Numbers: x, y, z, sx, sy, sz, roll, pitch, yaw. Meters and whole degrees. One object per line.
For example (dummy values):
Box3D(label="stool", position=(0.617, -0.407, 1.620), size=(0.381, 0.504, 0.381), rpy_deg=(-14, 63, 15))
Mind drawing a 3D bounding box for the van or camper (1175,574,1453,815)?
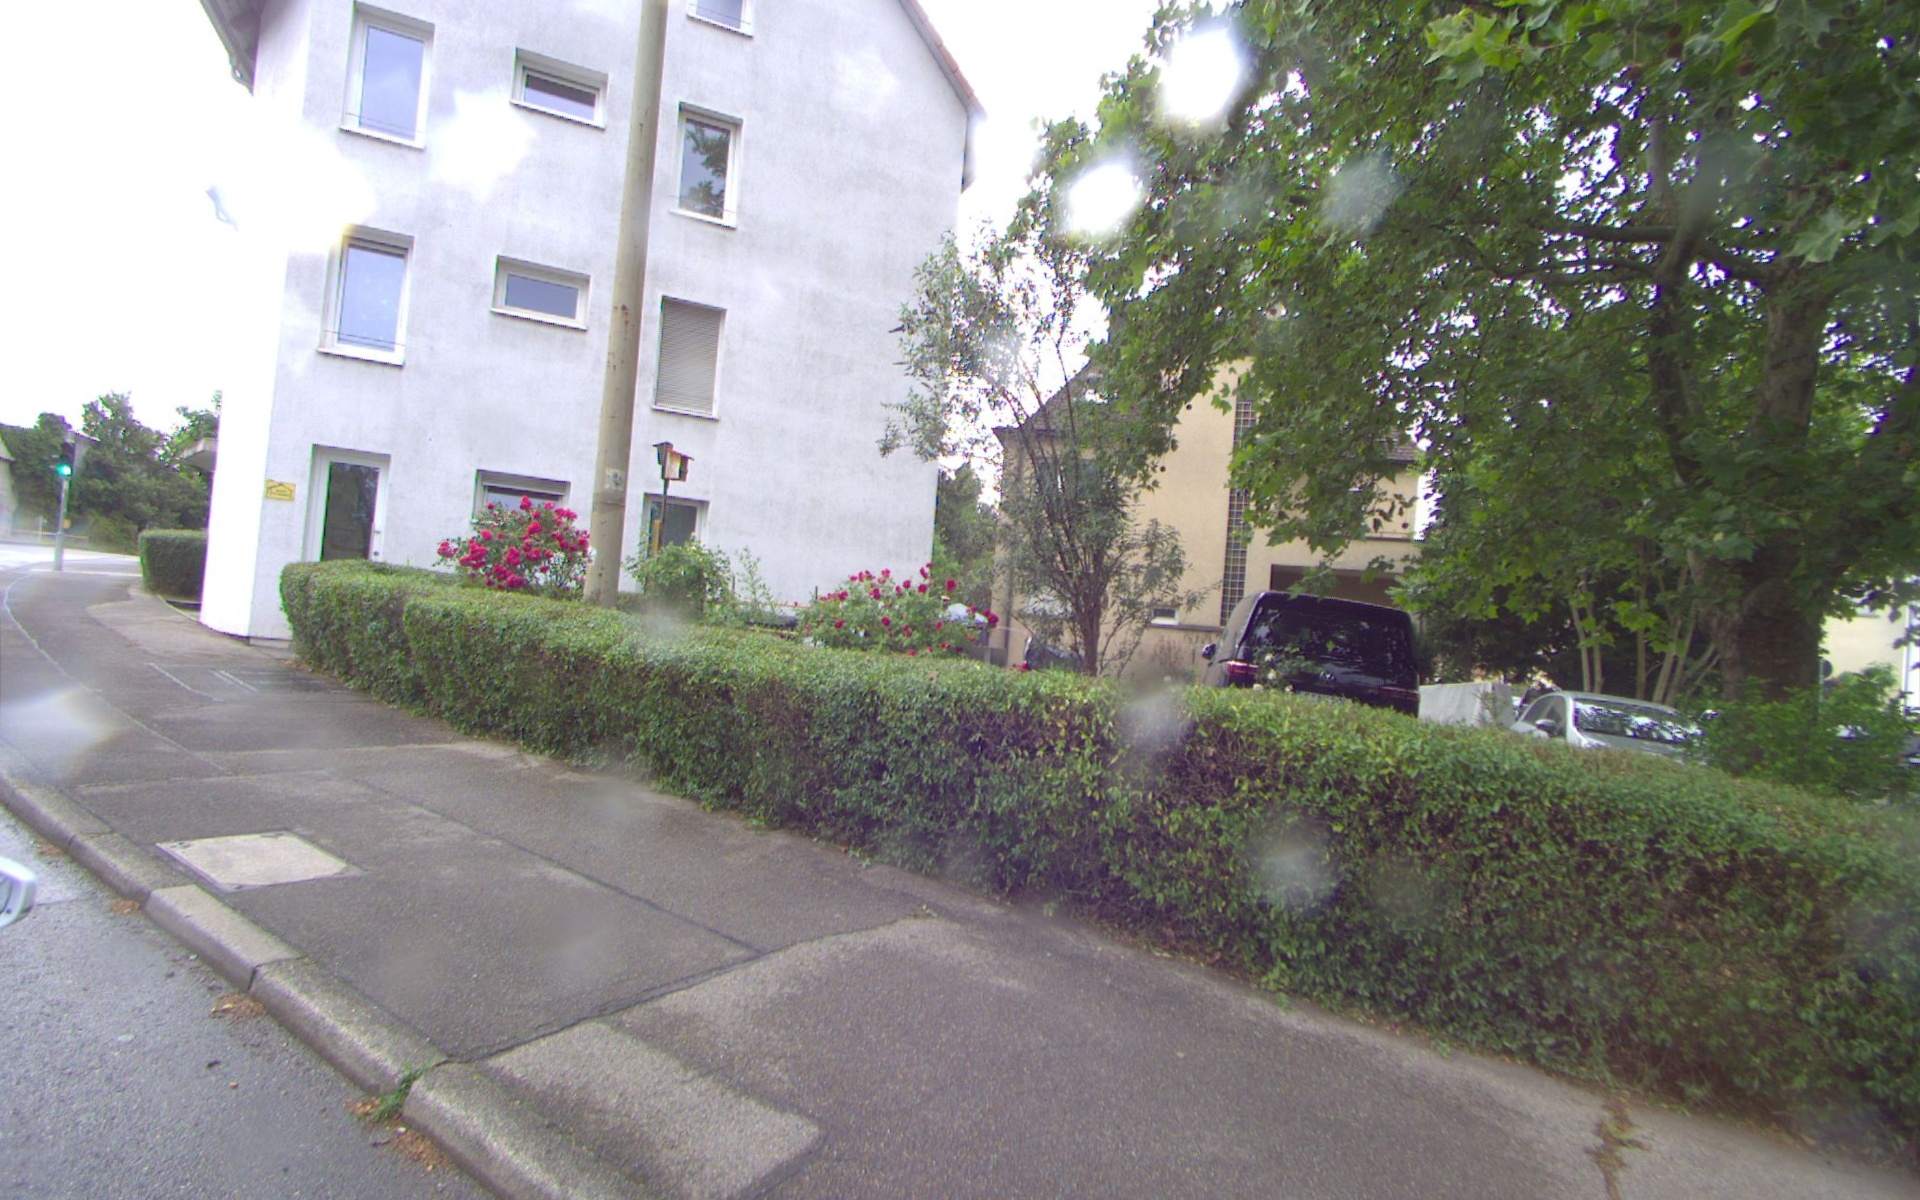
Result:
Box3D(label="van or camper", position=(3.626, 0.945, 11.205), size=(1.962, 1.926, 4.333), rpy_deg=(7, -2, 9))

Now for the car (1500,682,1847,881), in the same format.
Box3D(label="car", position=(7.459, 1.777, 11.058), size=(1.963, 1.481, 4.002), rpy_deg=(6, -2, 20))
